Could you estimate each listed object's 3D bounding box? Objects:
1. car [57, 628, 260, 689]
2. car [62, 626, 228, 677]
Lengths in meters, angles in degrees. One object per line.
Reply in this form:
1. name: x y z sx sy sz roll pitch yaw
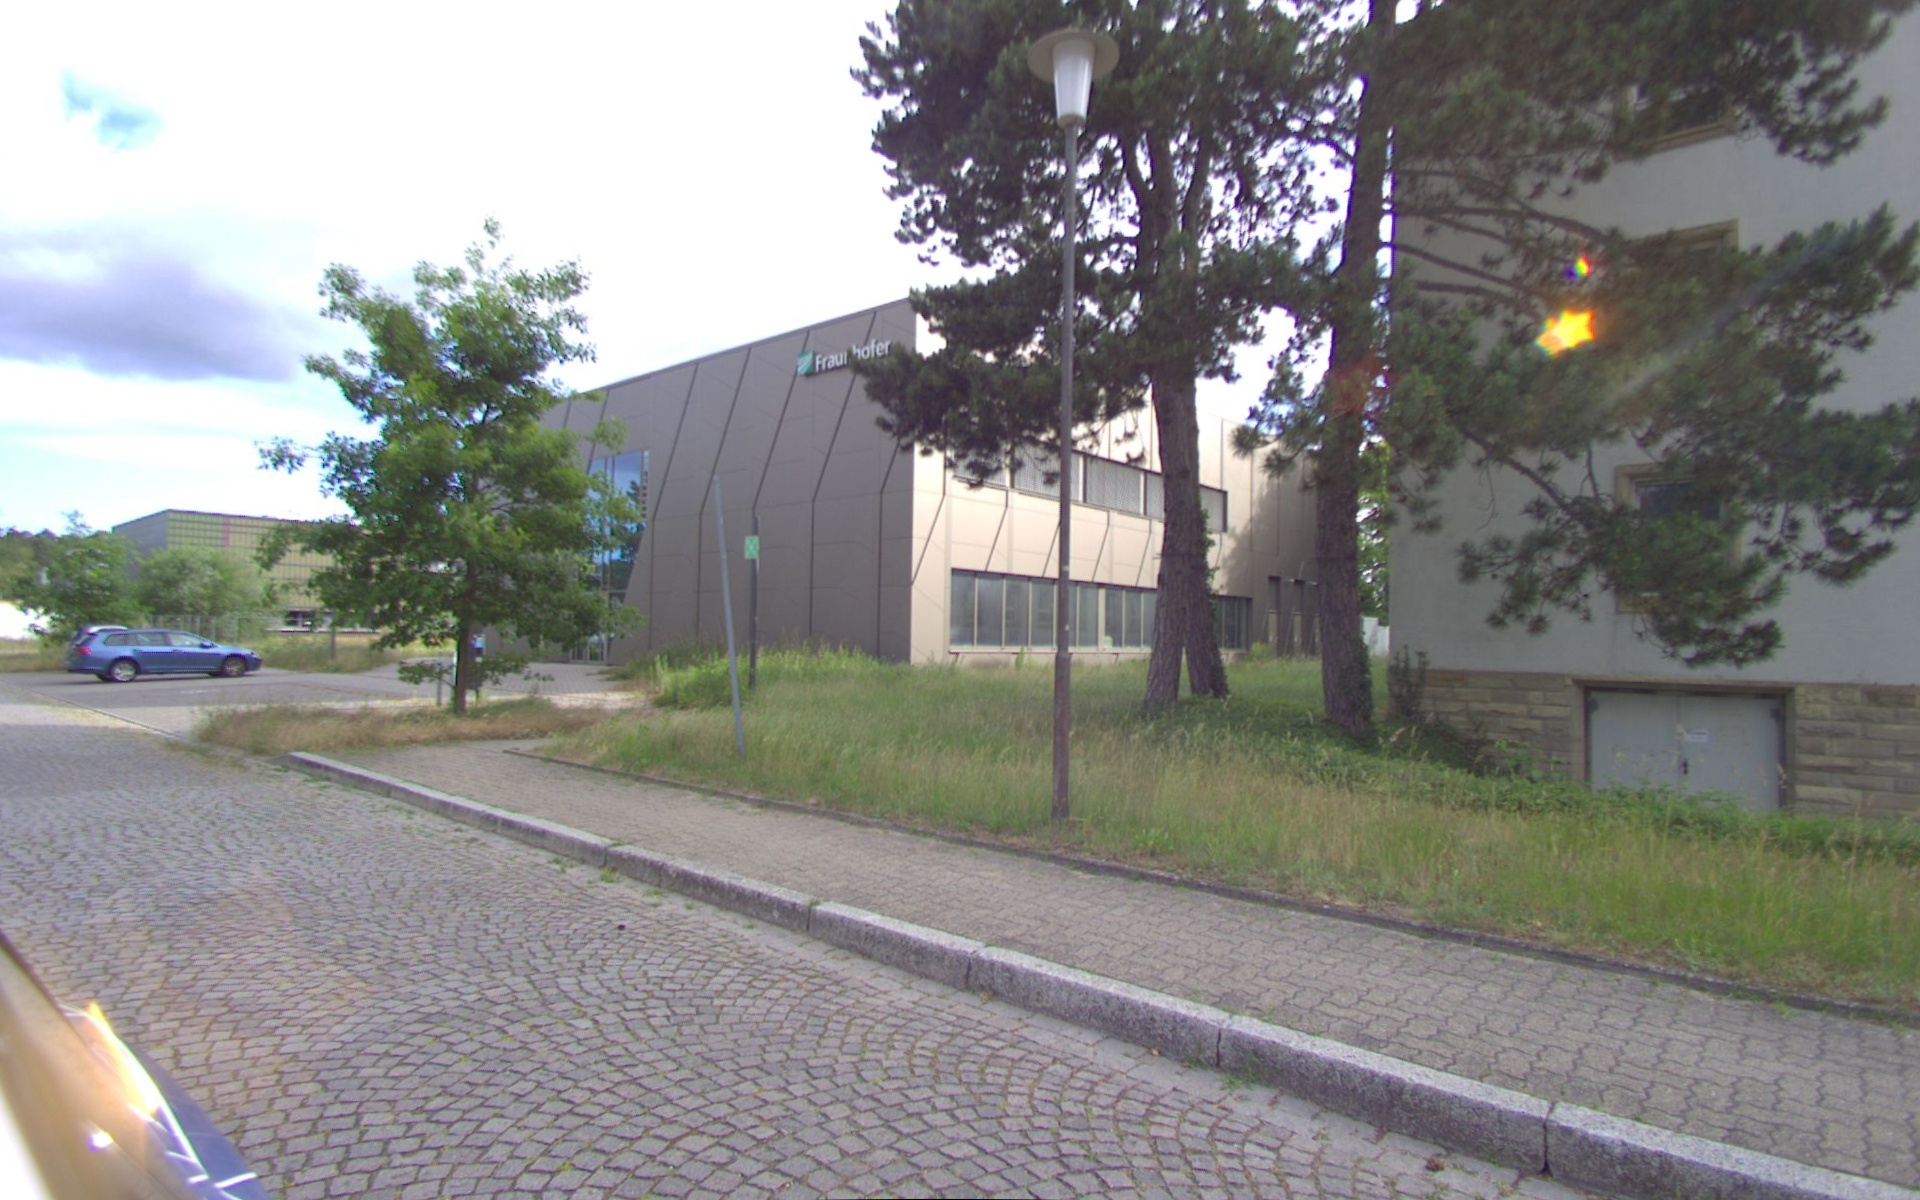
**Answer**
1. car: -23.107 1.632 29.312 1.715 1.522 4.350 -1 -1 38
2. car: -27.992 1.715 34.841 4.339 1.558 1.843 0 -1 -43
